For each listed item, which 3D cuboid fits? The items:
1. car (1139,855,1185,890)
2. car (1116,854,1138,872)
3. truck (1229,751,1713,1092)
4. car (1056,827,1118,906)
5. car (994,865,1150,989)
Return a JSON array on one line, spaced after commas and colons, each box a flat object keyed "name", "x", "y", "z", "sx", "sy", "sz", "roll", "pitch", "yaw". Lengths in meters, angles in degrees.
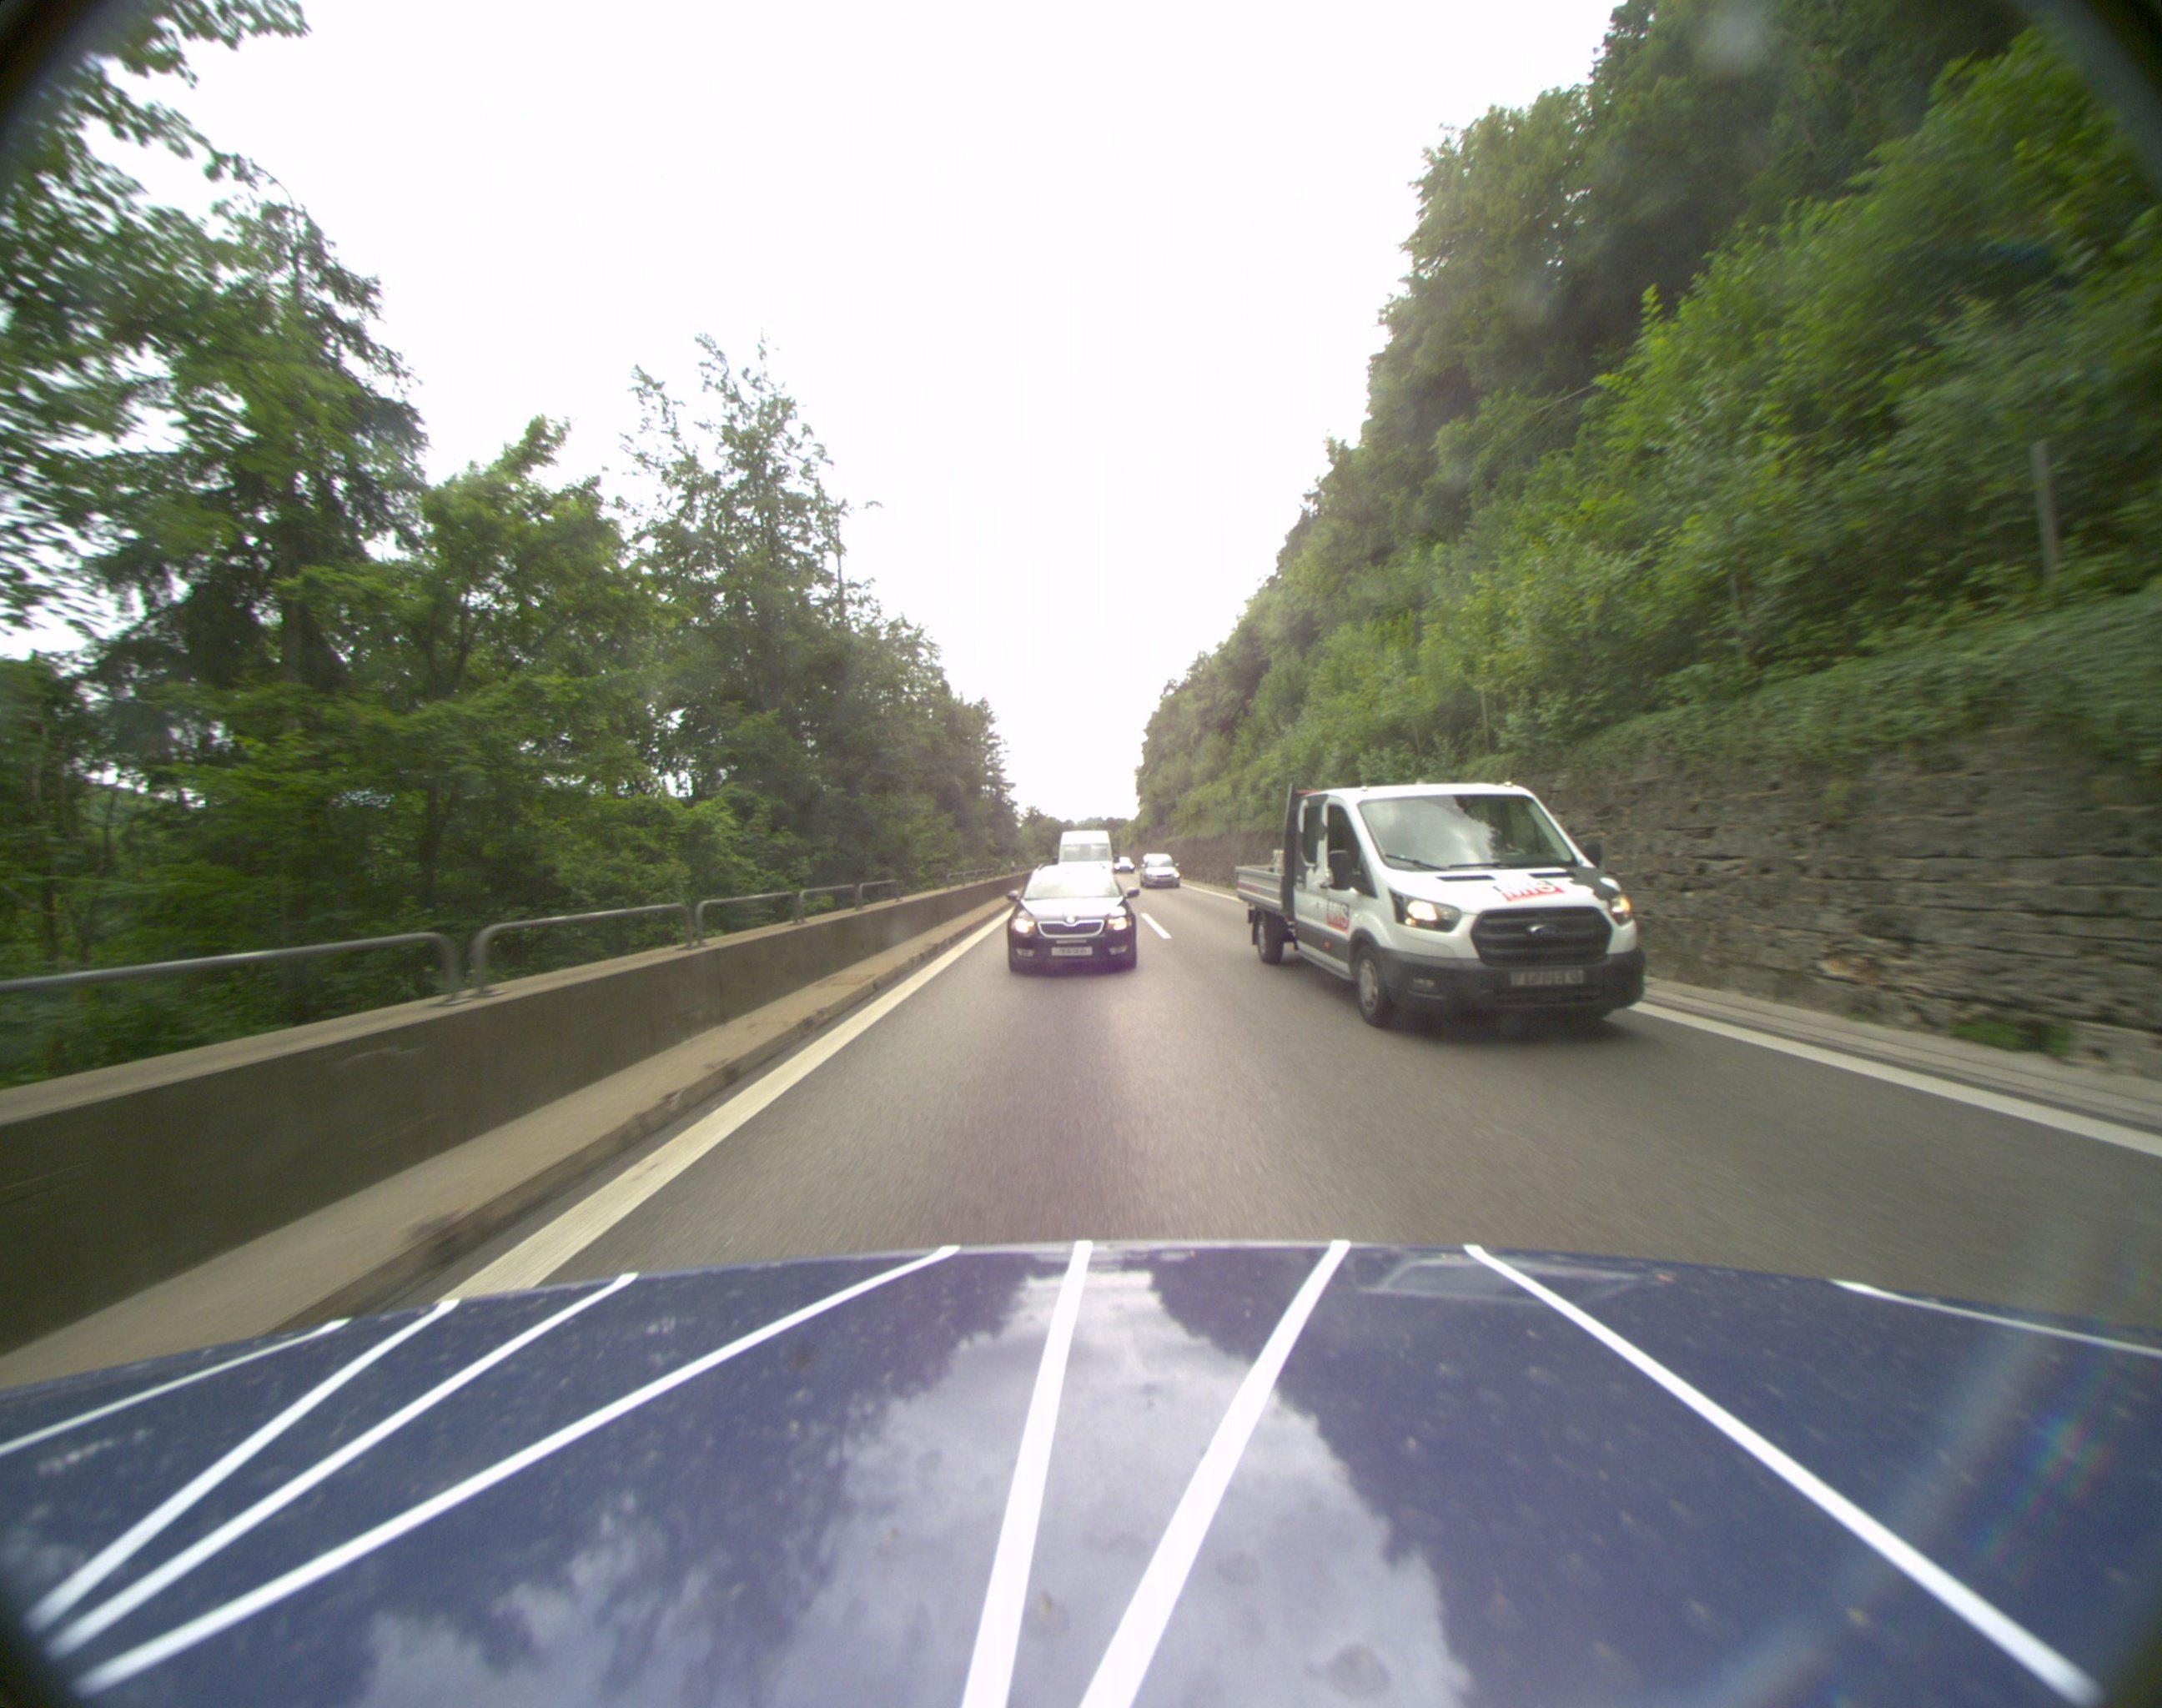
[{"name": "car", "x": 3.930, "y": 0.855, "z": 37.460, "sx": 1.711, "sy": 1.568, "sz": 4.602, "roll": -2, "pitch": 0, "yaw": 0}, {"name": "car", "x": 4.284, "y": 0.833, "z": 70.872, "sx": 1.711, "sy": 1.568, "sz": 4.602, "roll": -2, "pitch": 0, "yaw": 0}, {"name": "truck", "x": 3.330, "y": 0.472, "z": 8.519, "sx": 1.998, "sy": 2.266, "sz": 6.585, "roll": -2, "pitch": 0, "yaw": 0}, {"name": "car", "x": 0.316, "y": 0.391, "z": 28.023, "sx": 1.998, "sy": 2.550, "sz": 5.919, "roll": -1, "pitch": 1, "yaw": 3}, {"name": "car", "x": -0.177, "y": 0.969, "z": 12.474, "sx": 1.913, "sy": 1.391, "sz": 5.696, "roll": -3, "pitch": 0, "yaw": -1}]
